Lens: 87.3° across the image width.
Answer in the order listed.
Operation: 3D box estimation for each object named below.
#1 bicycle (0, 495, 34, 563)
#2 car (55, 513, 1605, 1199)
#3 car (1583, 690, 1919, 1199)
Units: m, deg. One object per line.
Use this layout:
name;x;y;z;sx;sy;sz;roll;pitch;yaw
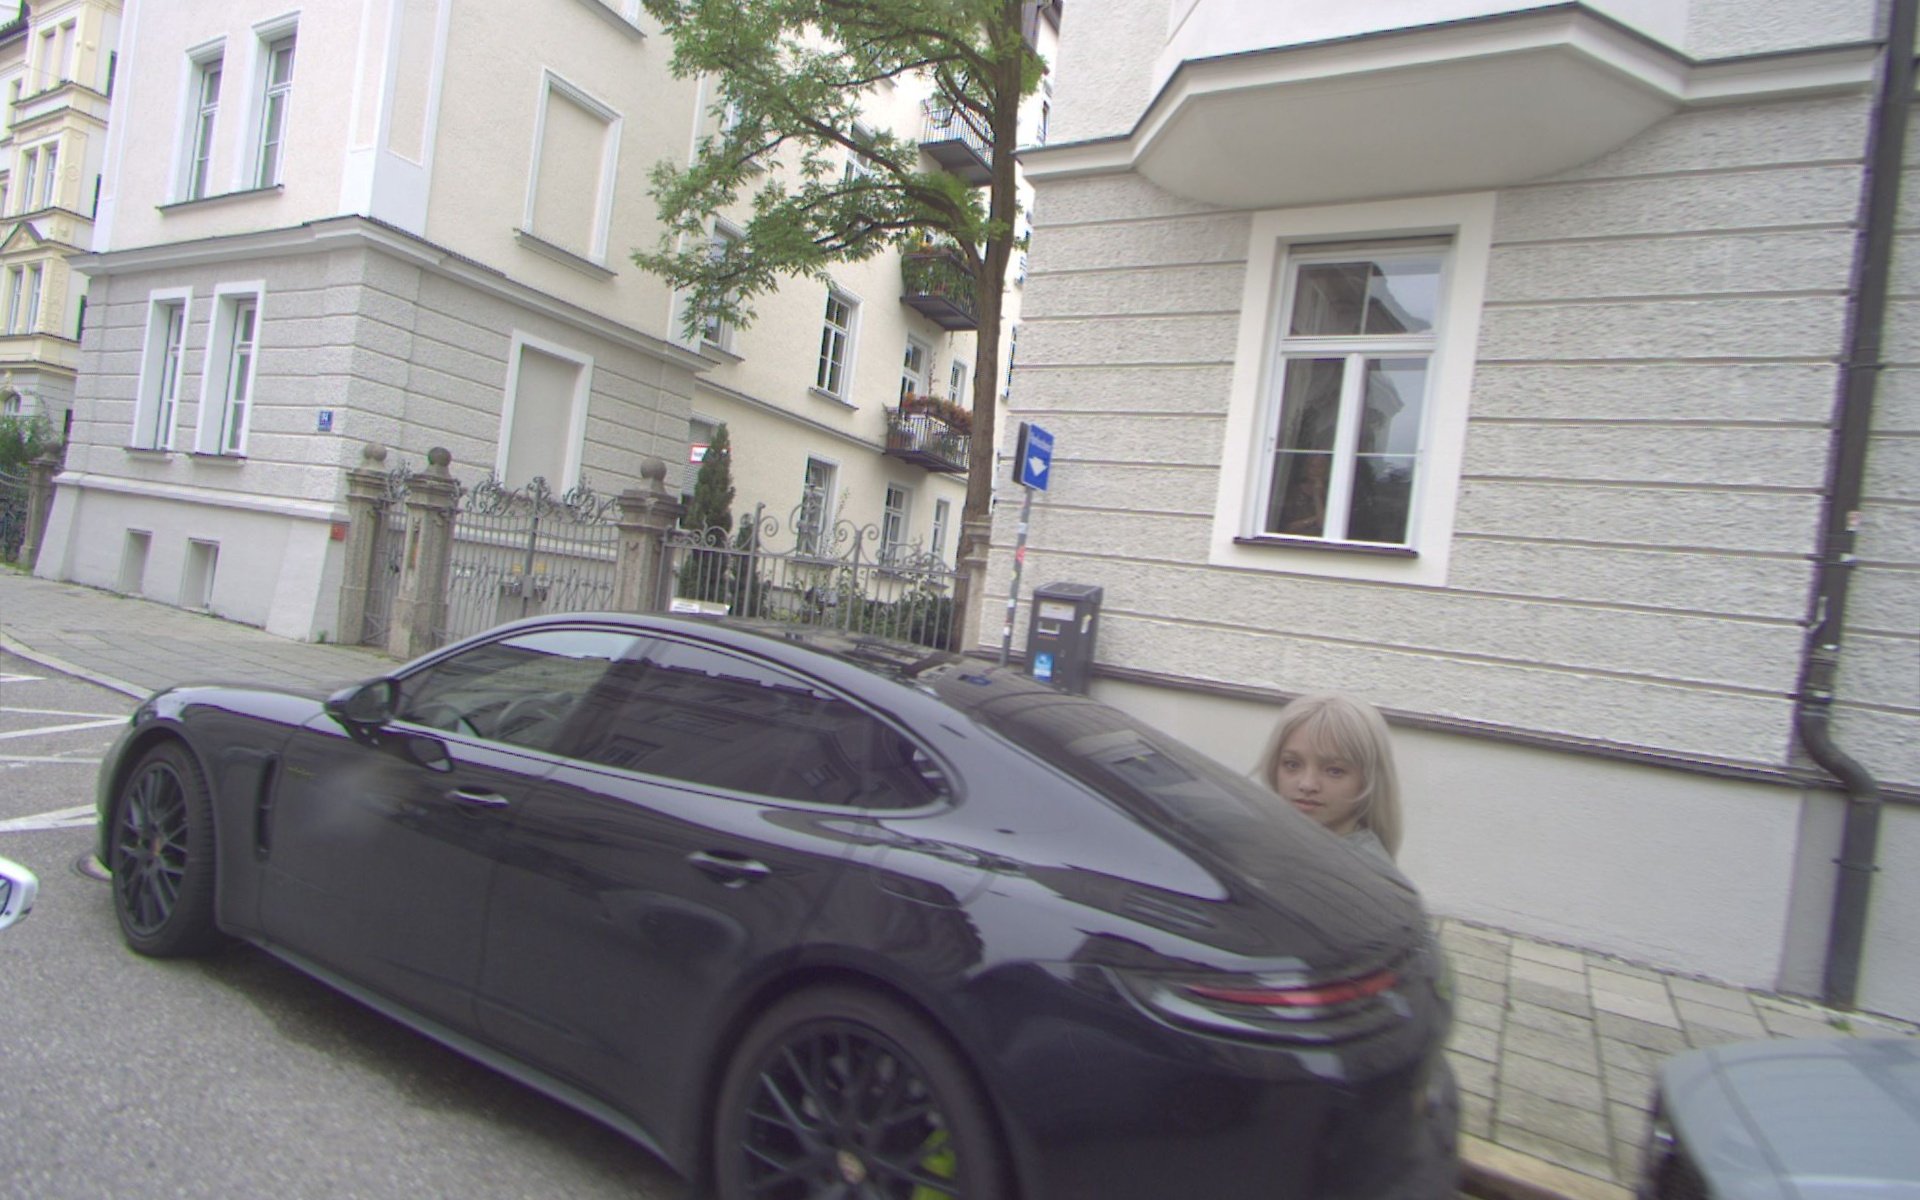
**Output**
bicycle;-17.517;-1.338;18.292;1.850;1.139;0.435;7;1;31
car;-0.731;0.747;3.419;4.631;1.475;1.997;7;0;29
car;3.281;1.228;1.008;4.346;1.502;1.765;8;-3;31
